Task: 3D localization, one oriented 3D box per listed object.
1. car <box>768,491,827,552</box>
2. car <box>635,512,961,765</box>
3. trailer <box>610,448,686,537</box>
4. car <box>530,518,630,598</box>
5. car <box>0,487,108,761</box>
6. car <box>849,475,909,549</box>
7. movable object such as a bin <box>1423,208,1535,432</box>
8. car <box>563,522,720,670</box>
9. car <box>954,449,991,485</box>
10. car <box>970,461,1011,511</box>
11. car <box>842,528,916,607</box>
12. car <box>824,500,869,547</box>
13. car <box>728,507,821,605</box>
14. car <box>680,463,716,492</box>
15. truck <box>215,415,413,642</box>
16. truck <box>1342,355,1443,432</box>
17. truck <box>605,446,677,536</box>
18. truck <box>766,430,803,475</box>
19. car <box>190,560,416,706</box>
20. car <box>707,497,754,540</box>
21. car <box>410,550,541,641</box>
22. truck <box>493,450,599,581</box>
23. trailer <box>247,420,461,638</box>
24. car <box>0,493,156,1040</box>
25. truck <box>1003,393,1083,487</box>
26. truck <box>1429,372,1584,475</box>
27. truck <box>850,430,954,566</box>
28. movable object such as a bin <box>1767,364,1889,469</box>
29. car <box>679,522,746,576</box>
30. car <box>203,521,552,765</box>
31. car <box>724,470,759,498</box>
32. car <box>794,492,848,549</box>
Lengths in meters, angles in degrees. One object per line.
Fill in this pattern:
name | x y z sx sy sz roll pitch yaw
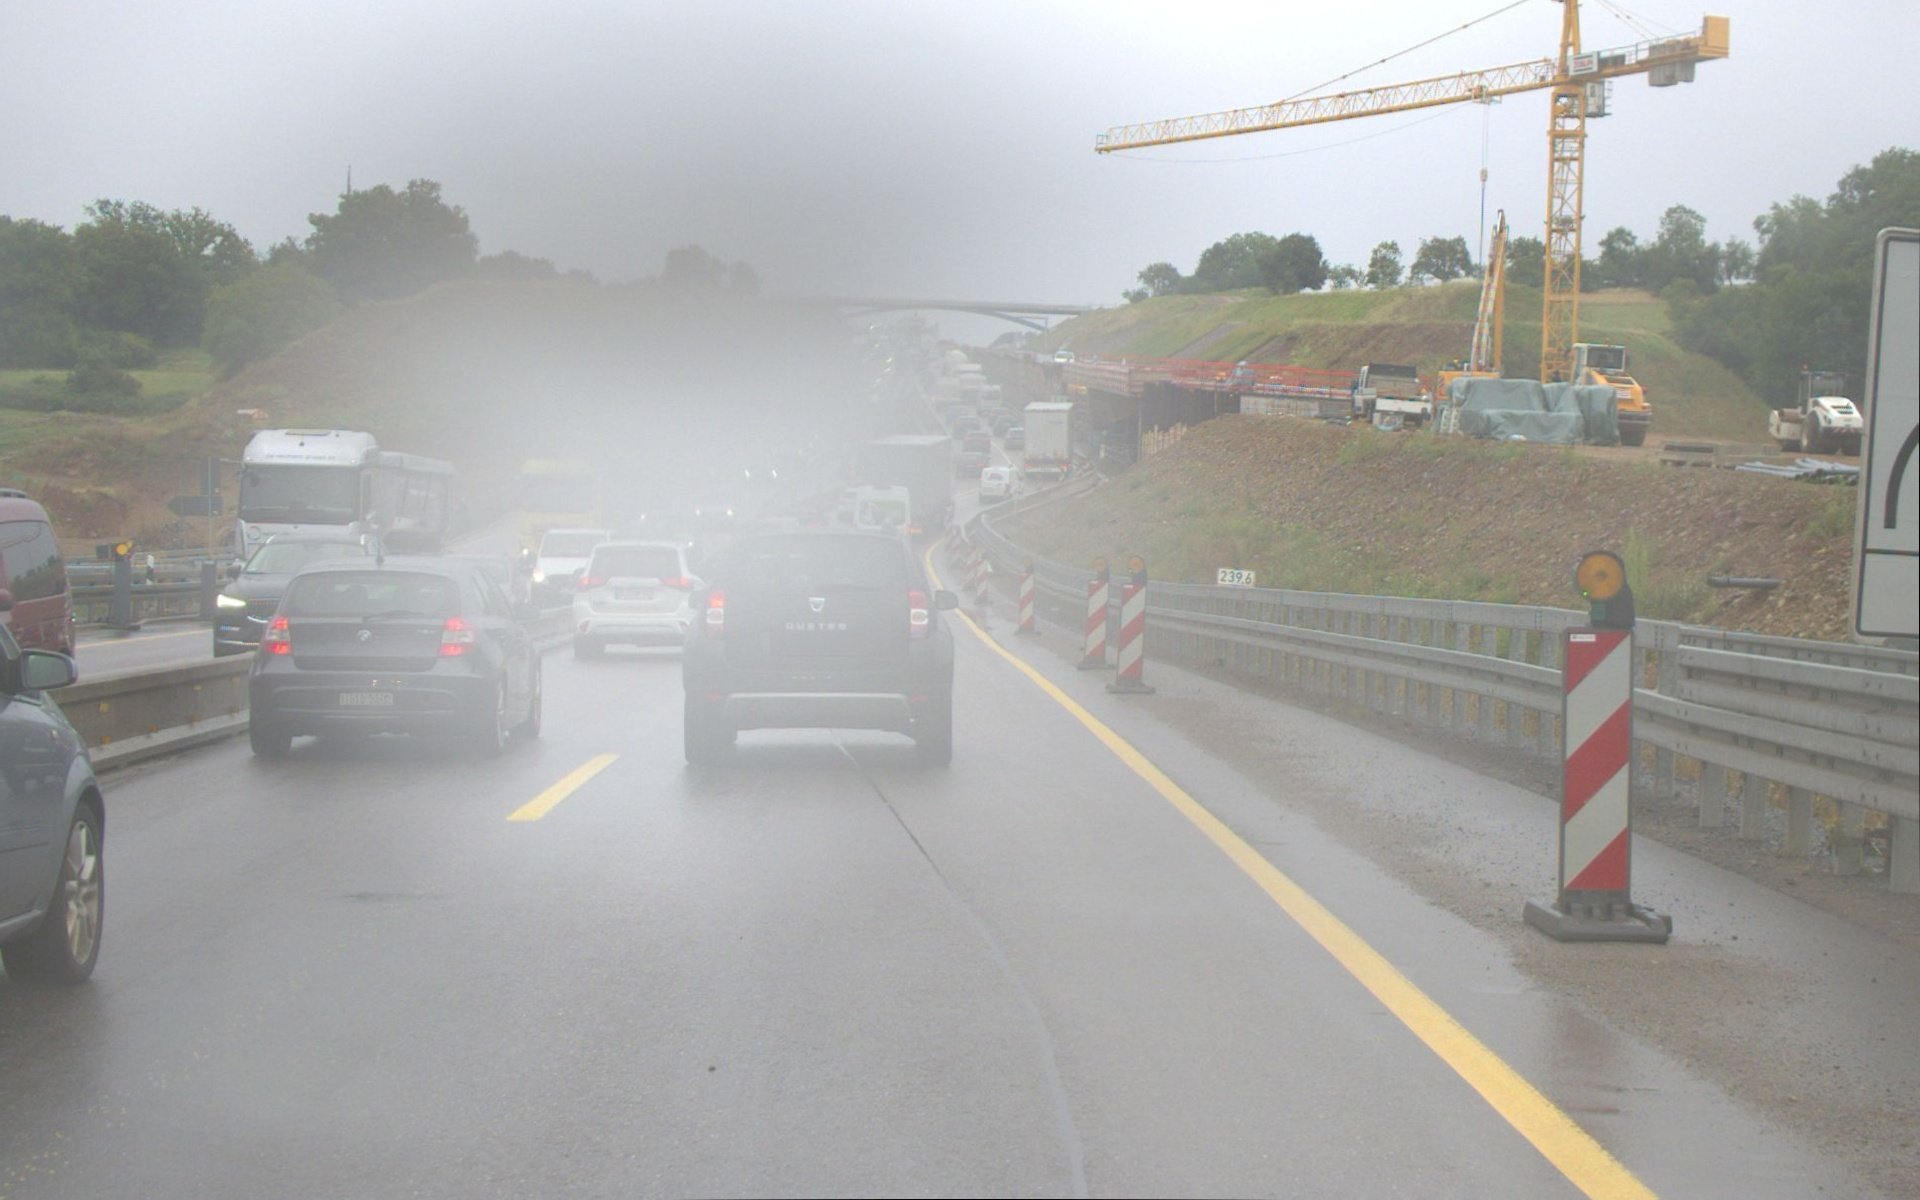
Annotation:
car | -5.854 -2.823 124.304 1.993 2.155 4.141 1 1 -1
car | -1.071 0.213 24.239 2.081 1.595 4.141 1 1 -1
trailer | -13.568 -4.634 150.278 2.620 3.665 12.005 1 1 -2
car | -8.831 -0.981 80.172 1.874 1.786 5.360 0 1 -2
car | -7.145 0.141 23.028 1.845 1.742 4.845 -1 2 -3
car | -2.803 -3.046 119.334 1.993 2.475 4.982 1 1 -1
movable object such as a bin | 26.819 -14.263 177.097 4.721 10.804 10.298 1 1 13
car | -4.491 -0.089 48.984 1.993 2.007 3.894 1 1 -2
car | 0.728 -7.682 198.319 1.993 2.006 4.001 0 3 -2
car | 1.545 -5.800 175.791 1.993 2.475 4.741 1 1 0
car | -2.273 -0.926 97.268 1.993 2.155 4.141 1 1 -1
car | -5.227 -3.536 159.246 1.993 2.155 4.141 1 1 -1
car | -4.280 -1.017 78.838 1.993 2.155 4.141 1 1 -5
car | -14.384 -6.740 189.145 1.787 1.541 4.001 1 2 -2
truck | -11.615 -1.289 62.257 2.686 3.913 5.274 0 1 -1
truck | 16.289 -7.766 129.809 2.645 2.546 6.985 1 1 -2
truck | -13.362 -4.531 144.498 2.620 3.665 6.596 1 1 -2
truck | -10.604 -8.926 208.405 2.078 2.567 5.963 1 1 -2
car | -7.985 0.361 42.183 1.993 1.649 4.470 -1 1 -1
car | -9.949 -3.535 149.163 1.865 1.794 4.163 1 1 -2
car | -8.086 -0.101 57.597 1.709 1.448 4.000 1 1 -2
truck | -13.301 -2.701 110.755 2.749 4.048 6.148 1 1 -1
trailer | -11.737 -1.385 67.486 2.686 3.950 9.820 0 1 -1
car | -3.784 0.473 9.919 1.993 1.595 4.141 1 1 -1
truck | 4.779 -9.263 201.090 3.803 5.025 12.923 1 1 -2
truck | 16.961 -5.440 107.352 3.395 2.865 8.960 1 1 0
truck | -2.338 -4.186 142.677 3.102 5.407 9.441 1 1 6
movable object such as a bin | 32.026 -6.730 127.088 2.340 3.587 6.562 1 1 -4
car | -8.285 -1.717 115.308 1.993 1.753 4.688 1 1 -1
car | -4.109 0.250 24.879 1.993 1.595 4.141 1 1 -3
car | -12.041 -6.405 189.653 1.772 1.499 4.680 0 2 -2
car | -5.452 -3.118 134.980 1.993 2.155 4.141 1 1 -1
